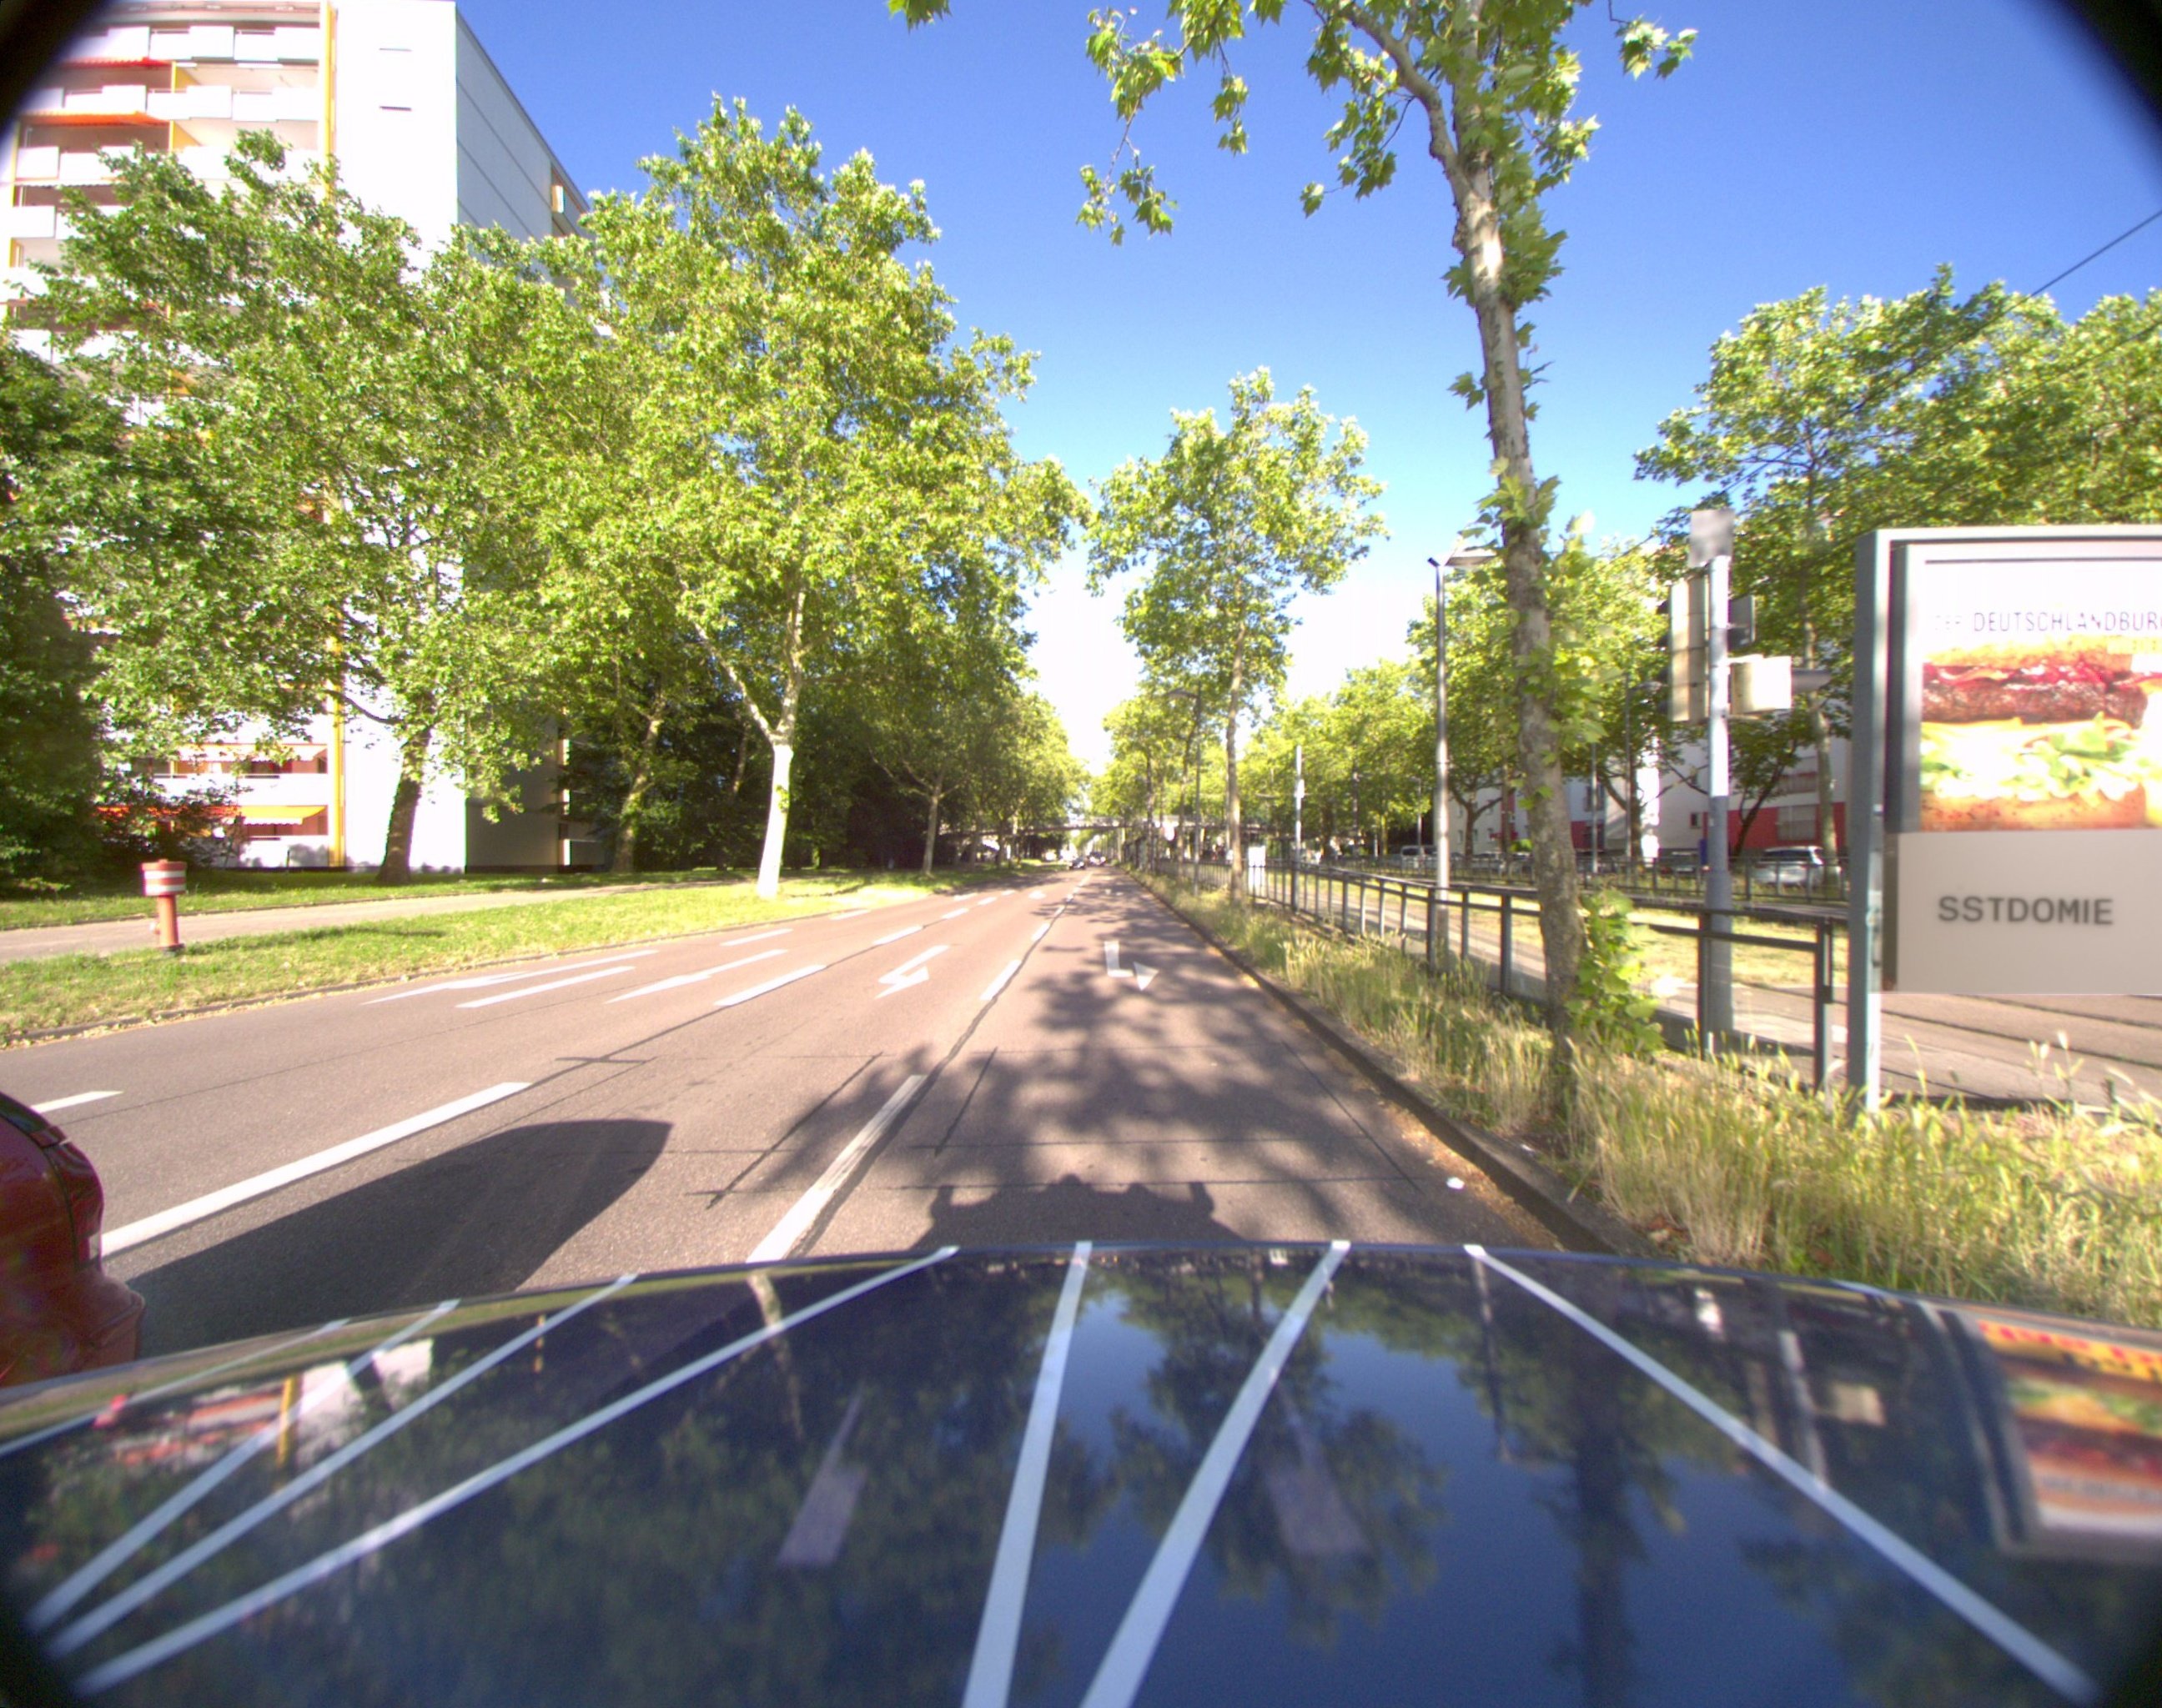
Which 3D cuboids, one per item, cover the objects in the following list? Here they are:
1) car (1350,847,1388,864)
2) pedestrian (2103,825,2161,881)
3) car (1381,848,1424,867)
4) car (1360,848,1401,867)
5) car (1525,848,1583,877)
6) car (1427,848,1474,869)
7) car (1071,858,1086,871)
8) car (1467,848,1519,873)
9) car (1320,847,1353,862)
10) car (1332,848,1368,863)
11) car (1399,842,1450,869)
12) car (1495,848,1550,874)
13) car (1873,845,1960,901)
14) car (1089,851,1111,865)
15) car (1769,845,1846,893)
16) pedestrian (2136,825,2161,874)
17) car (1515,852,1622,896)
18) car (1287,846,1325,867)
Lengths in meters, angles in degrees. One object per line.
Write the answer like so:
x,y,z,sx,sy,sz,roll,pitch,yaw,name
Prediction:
26.618,0.141,70.136,3.811,1.433,1.652,-2,0,-42,car
33.667,-0.028,24.350,0.764,1.723,0.786,-2,1,-1,pedestrian
25.729,0.275,60.754,3.811,1.433,1.652,-2,0,-42,car
24.943,0.277,63.211,3.811,1.433,1.652,-2,0,-42,car
25.862,0.448,41.481,3.811,1.433,1.652,-2,0,-42,car
26.301,0.315,54.034,3.811,1.433,1.652,-2,0,-42,car
-0.275,1.143,86.431,1.580,1.395,3.638,-2,0,0,car
25.850,0.402,47.681,3.811,1.433,1.652,-2,0,-42,car
26.785,0.051,79.627,3.811,1.433,1.652,-2,0,-42,car
26.065,0.139,73.567,3.811,1.433,1.652,-2,0,-42,car
25.818,0.095,57.032,4.330,1.863,1.836,-2,0,-42,car
26.097,0.412,44.866,3.811,1.433,1.652,-2,0,-42,car
25.243,0.528,22.968,3.811,1.501,1.652,-2,0,-42,car
2.663,0.580,108.765,1.908,1.924,4.714,-2,0,-14,car
25.356,0.494,26.477,3.811,1.501,1.652,-2,0,-42,car
35.968,-0.158,25.242,0.764,1.614,0.786,-2,1,-1,pedestrian
19.707,0.760,30.939,1.655,1.609,4.294,-2,0,1,car
20.975,0.210,71.035,1.832,1.811,4.901,-2,0,-2,car
